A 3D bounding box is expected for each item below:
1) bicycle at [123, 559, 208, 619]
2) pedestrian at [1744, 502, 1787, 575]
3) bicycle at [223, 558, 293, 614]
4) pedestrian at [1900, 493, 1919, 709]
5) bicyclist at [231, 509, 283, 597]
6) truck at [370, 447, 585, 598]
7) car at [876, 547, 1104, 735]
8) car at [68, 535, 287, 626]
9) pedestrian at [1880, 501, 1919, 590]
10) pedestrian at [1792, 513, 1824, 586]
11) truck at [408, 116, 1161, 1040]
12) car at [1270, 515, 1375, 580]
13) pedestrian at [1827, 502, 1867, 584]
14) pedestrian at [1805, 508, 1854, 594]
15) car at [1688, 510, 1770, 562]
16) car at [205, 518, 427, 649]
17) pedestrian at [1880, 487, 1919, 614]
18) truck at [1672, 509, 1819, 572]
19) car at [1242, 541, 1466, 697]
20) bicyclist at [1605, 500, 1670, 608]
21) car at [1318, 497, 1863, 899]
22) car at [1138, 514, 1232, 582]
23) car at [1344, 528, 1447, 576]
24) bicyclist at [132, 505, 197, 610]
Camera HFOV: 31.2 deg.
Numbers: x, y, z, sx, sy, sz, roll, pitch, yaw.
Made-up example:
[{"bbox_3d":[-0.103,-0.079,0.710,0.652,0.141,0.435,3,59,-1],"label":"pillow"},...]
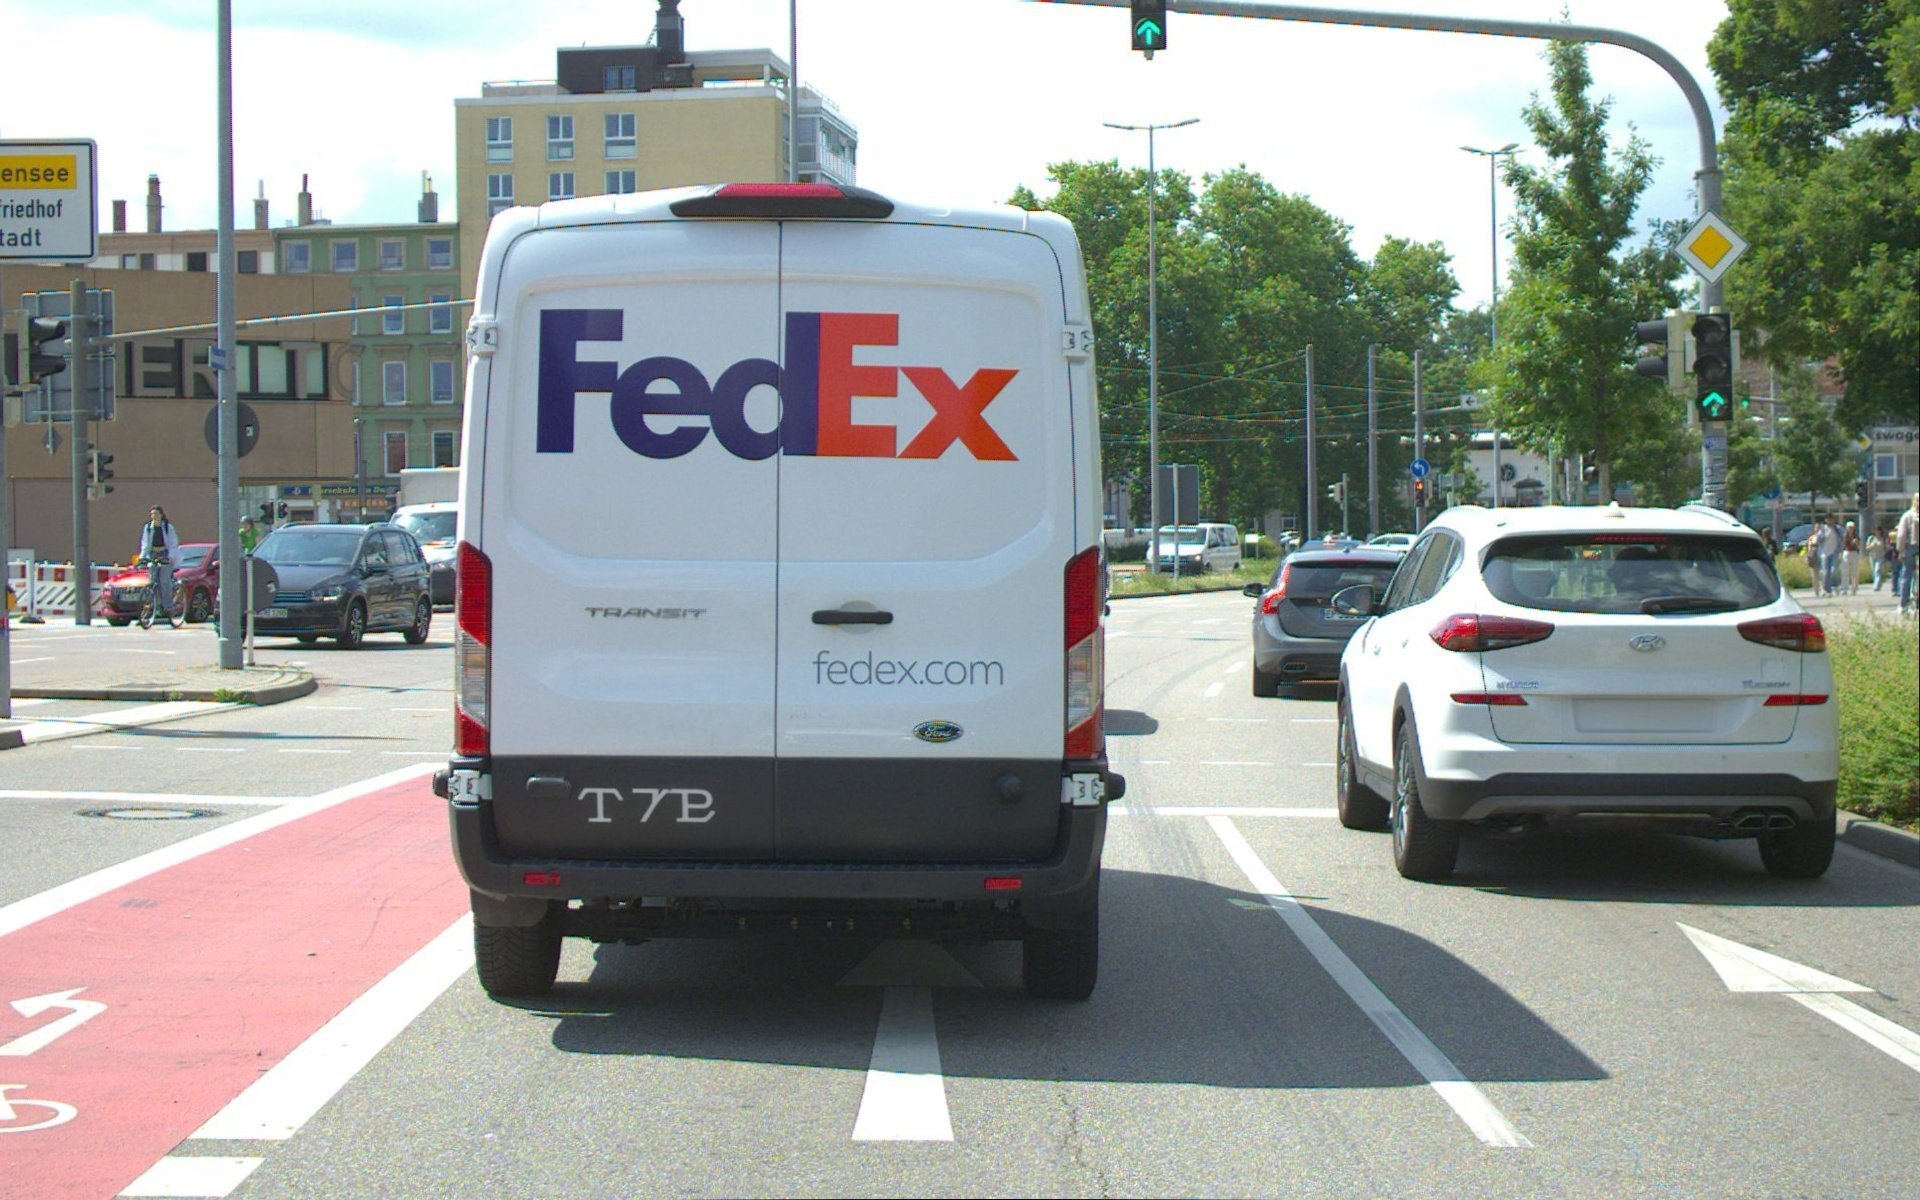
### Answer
[{"bbox_3d":[-12.430,-0.185,53.854,0.776,0.886,2.108,-1,1,2],"label":"bicycle"},{"bbox_3d":[17.836,-1.357,76.114,0.756,1.584,0.761,1,0,1],"label":"pedestrian"},{"bbox_3d":[-11.814,-0.242,57.903,0.567,0.886,1.742,-1,1,9],"label":"bicycle"},{"bbox_3d":[8.267,0.000,28.176,0.749,1.771,0.882,-2,1,-7],"label":"pedestrian"},{"bbox_3d":[-11.832,-0.800,57.842,0.565,1.456,0.836,-1,1,9],"label":"bicyclist"},{"bbox_3d":[-10.162,-1.596,73.181,1.995,3.057,7.326,1,0,13],"label":"truck"},{"bbox_3d":[0.299,0.284,28.574,1.741,1.387,4.179,-1,1,2],"label":"car"},{"bbox_3d":[-13.608,-0.362,59.989,1.995,1.481,3.902,-1,1,18],"label":"car"},{"bbox_3d":[19.430,-1.123,70.998,0.756,1.815,0.674,1,0,8],"label":"pedestrian"},{"bbox_3d":[18.951,-1.134,76.858,0.587,1.620,0.727,1,0,7],"label":"pedestrian"},{"bbox_3d":[-0.580,-0.107,12.793,2.137,2.631,5.918,0,1,-2],"label":"truck"},{"bbox_3d":[8.698,-1.274,82.173,1.882,1.501,4.153,1,2,15],"label":"car"},{"bbox_3d":[19.771,-1.273,76.656,0.756,1.815,0.638,1,0,7],"label":"pedestrian"},{"bbox_3d":[18.857,-1.065,74.602,0.756,1.815,0.780,-4,0,1],"label":"pedestrian"},{"bbox_3d":[25.161,-2.102,112.430,1.883,1.635,3.952,0,2,24],"label":"car"},{"bbox_3d":[-8.360,-0.260,44.978,1.881,1.618,4.155,0,1,4],"label":"car"},{"bbox_3d":[13.644,-0.719,49.262,0.750,1.796,0.609,-2,1,6],"label":"pedestrian"},{"bbox_3d":[37.160,-2.849,162.405,2.892,2.842,8.771,0,2,42],"label":"truck"},{"bbox_3d":[3.881,0.148,34.430,1.915,1.415,3.918,-1,1,2],"label":"car"},{"bbox_3d":[10.252,-0.692,52.046,0.828,1.596,0.579,-3,0,6],"label":"bicyclist"},{"bbox_3d":[2.814,0.352,16.265,1.881,1.635,4.233,-1,1,1],"label":"car"},{"bbox_3d":[6.894,-1.572,105.094,1.995,2.007,4.119,1,0,16],"label":"car"},{"bbox_3d":[17.972,-1.980,141.961,4.076,1.918,1.809,1,0,12],"label":"car"},{"bbox_3d":[-12.441,-0.675,53.786,0.776,1.613,0.843,-1,1,2],"label":"bicyclist"}]
